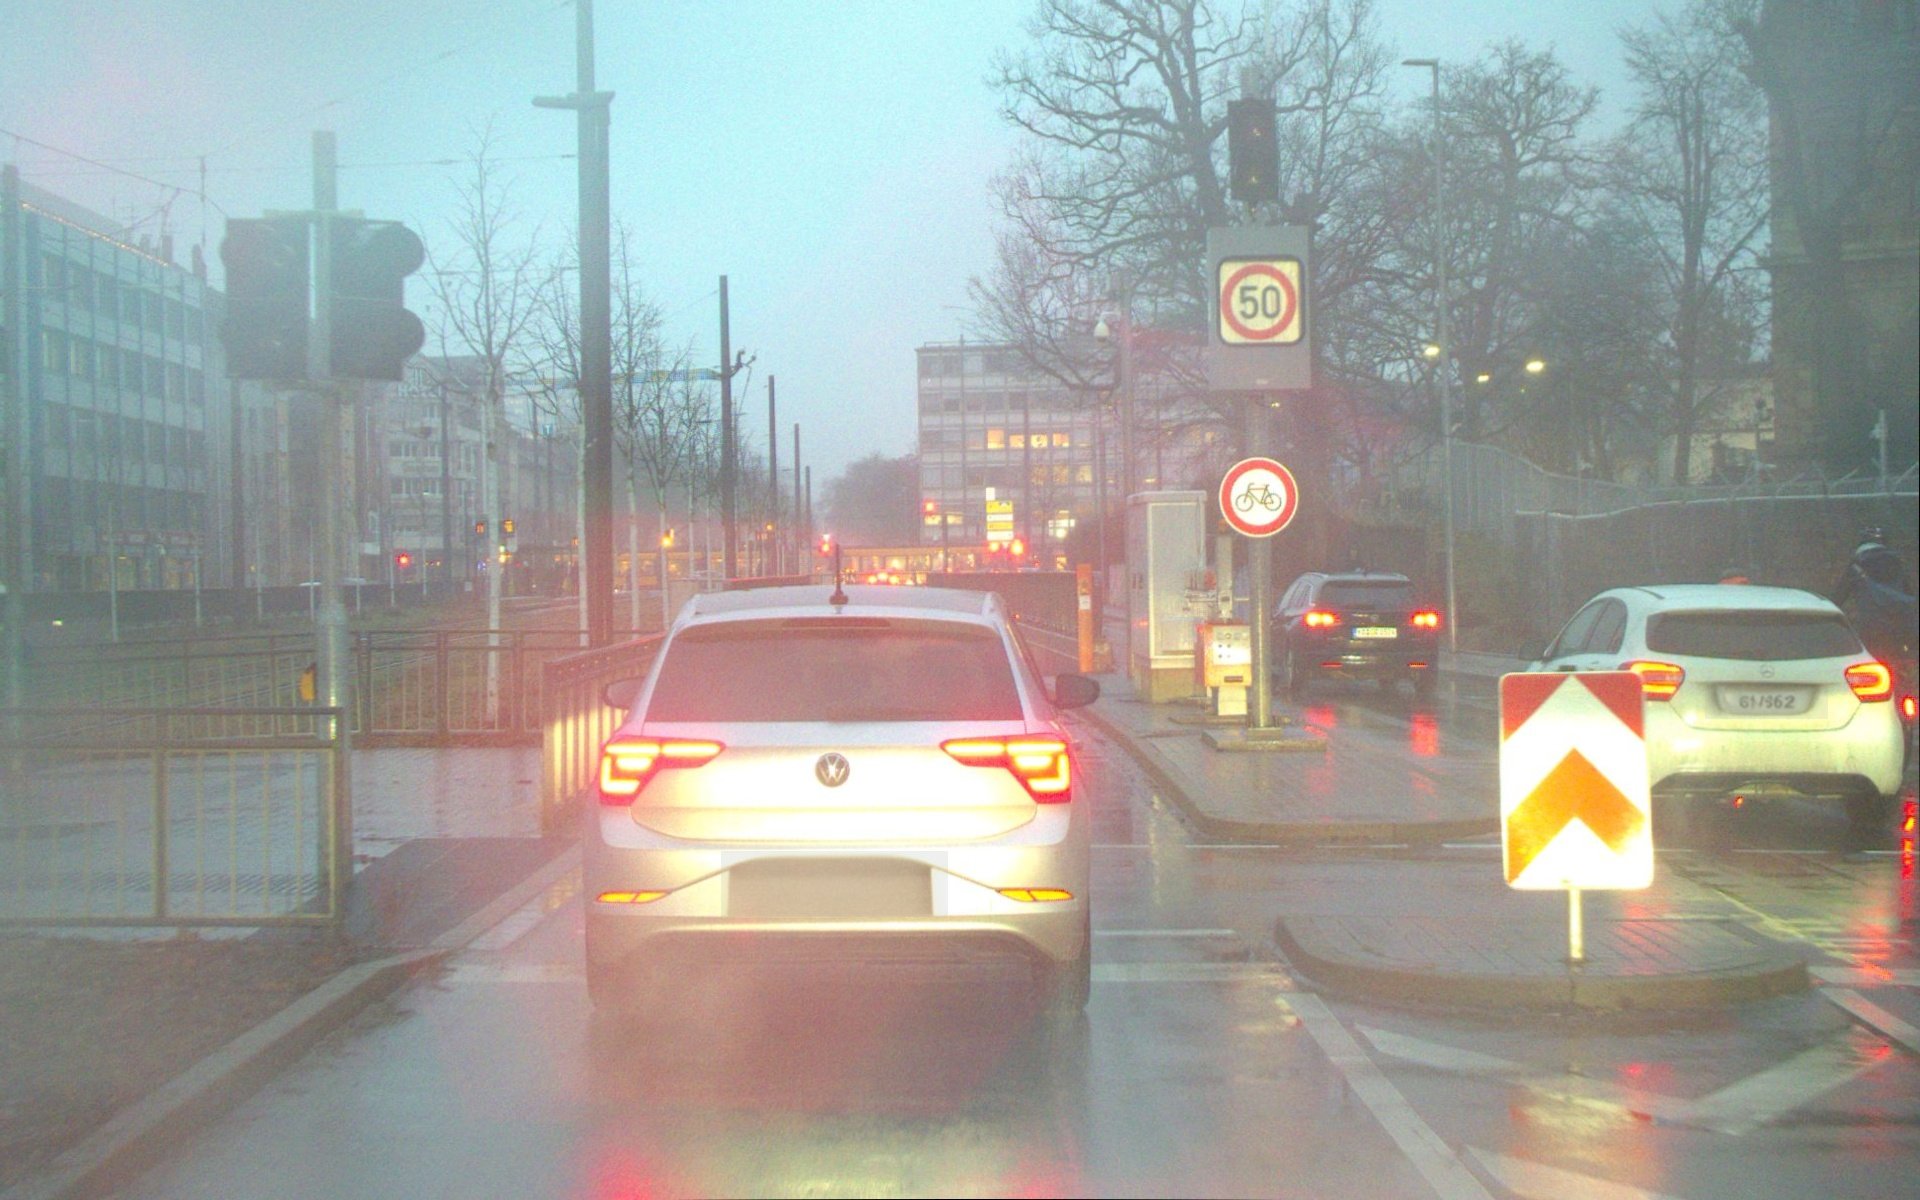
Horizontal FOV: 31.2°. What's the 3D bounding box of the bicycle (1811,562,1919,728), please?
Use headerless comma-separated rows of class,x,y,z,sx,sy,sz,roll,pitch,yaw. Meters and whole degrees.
bicycle,6.860,0.311,25.625,0.411,1.181,2.029,-1,1,-3

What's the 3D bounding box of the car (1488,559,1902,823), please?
car,4.487,0.520,21.553,1.722,1.474,4.000,1,0,0

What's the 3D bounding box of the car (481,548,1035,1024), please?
car,-0.636,0.601,12.851,1.722,1.474,4.000,1,0,0

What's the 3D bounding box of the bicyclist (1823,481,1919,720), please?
bicyclist,6.871,-0.001,25.840,0.500,1.761,0.837,-1,1,-3

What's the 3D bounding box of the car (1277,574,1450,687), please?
car,4.885,0.360,42.065,1.623,1.295,4.000,1,0,0

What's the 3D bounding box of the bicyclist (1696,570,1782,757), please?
bicyclist,6.753,0.537,29.826,0.500,1.586,0.837,-1,1,-3

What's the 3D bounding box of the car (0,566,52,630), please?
car,-29.842,-0.069,107.170,1.993,1.926,4.913,-2,1,-3

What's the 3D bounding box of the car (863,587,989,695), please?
car,-0.474,0.576,49.995,1.722,1.474,4.000,1,0,0
